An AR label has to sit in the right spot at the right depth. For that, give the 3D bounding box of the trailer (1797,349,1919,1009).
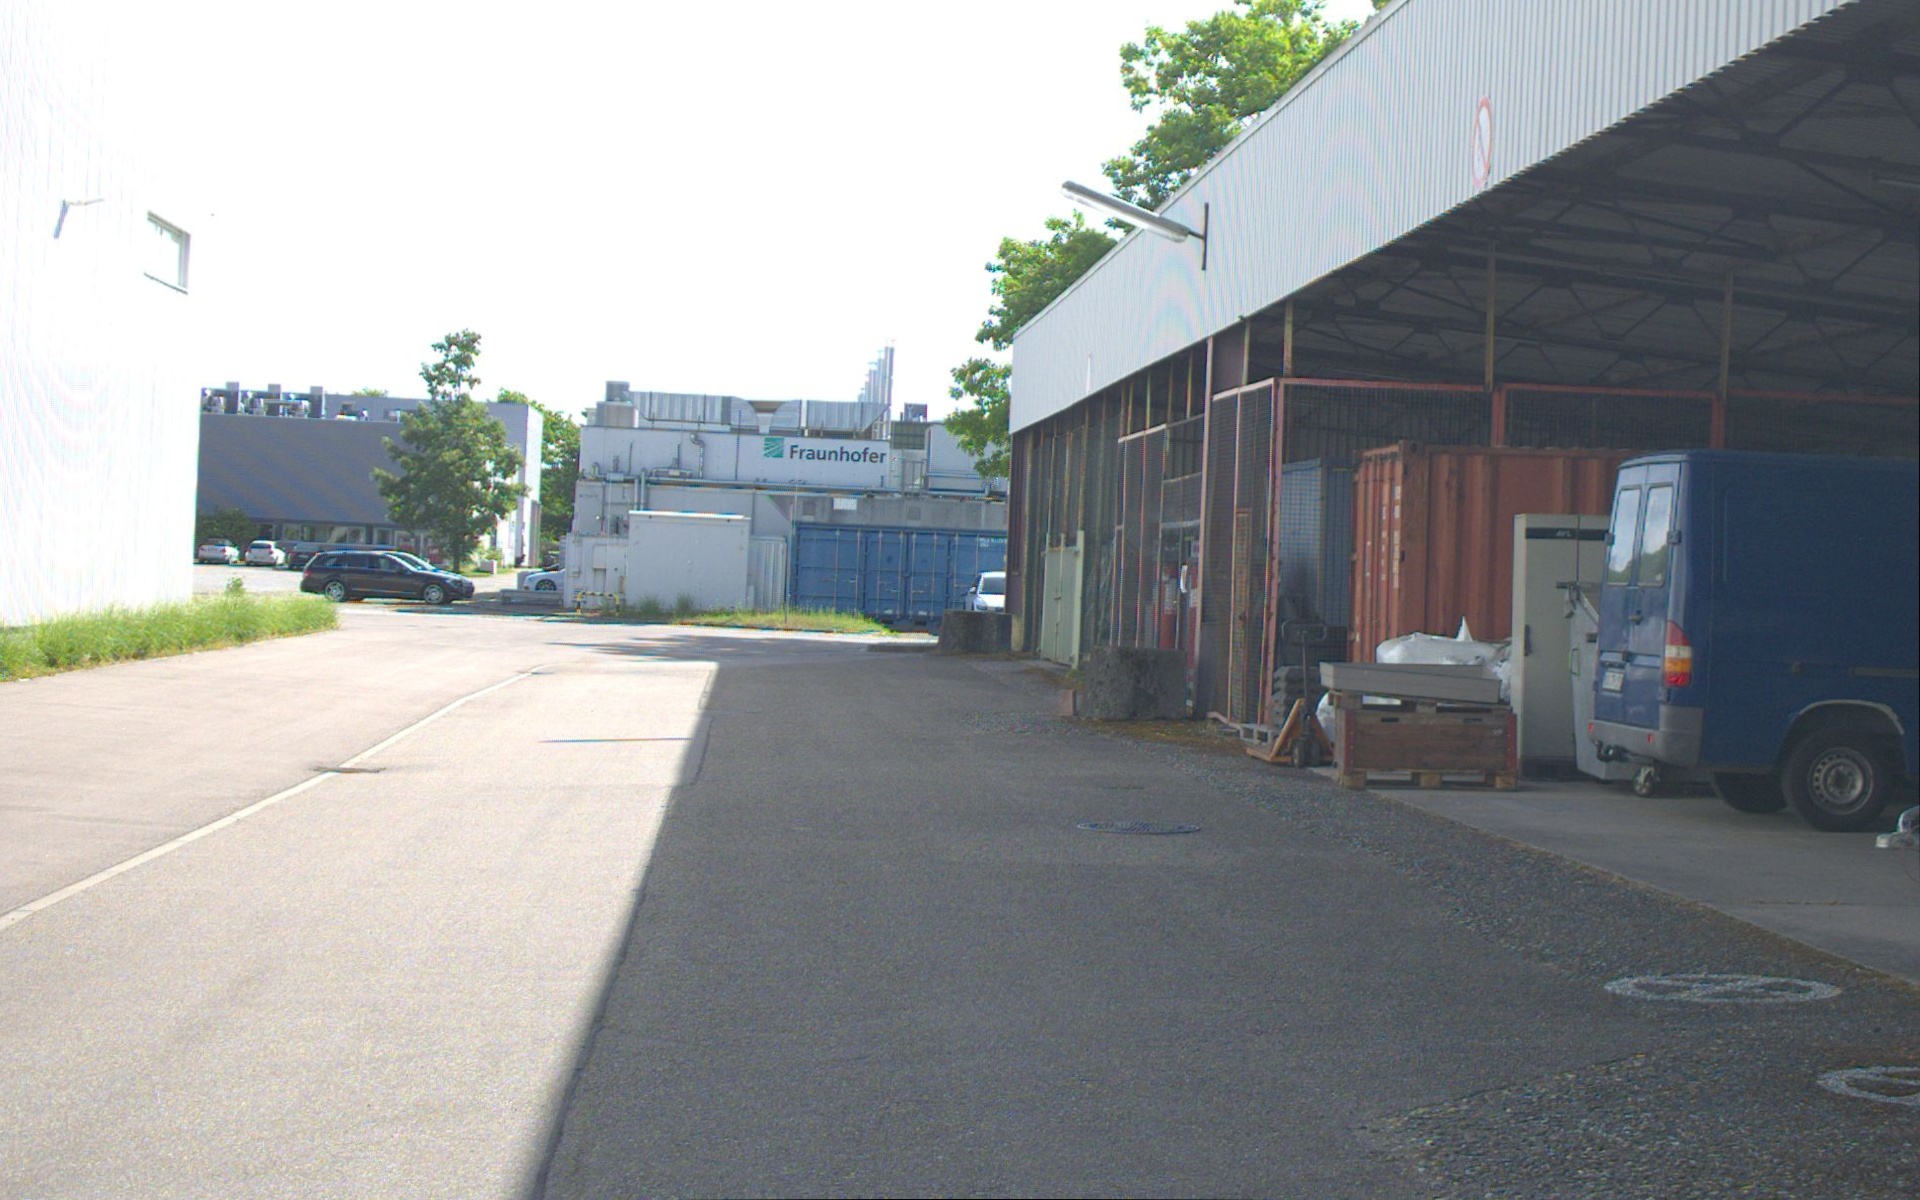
[{"bbox_3d":[5.634,0.300,12.844,4.541,2.327,1.689,1,1,-3],"label":"trailer"}]

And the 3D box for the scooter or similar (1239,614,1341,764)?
[{"bbox_3d":[2.610,0.691,27.334,0.520,1.131,1.592,2,0,-4],"label":"scooter or similar"}]

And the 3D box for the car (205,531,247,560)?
[{"bbox_3d":[-41.197,-3.058,193.083,1.877,1.532,4.036,1,0,-6],"label":"car"}]

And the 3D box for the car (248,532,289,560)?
[{"bbox_3d":[-38.887,-3.025,193.442,1.877,1.532,4.036,1,0,-6],"label":"car"}]

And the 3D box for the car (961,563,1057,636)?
[{"bbox_3d":[1.199,-0.039,85.992,1.980,1.588,4.341,3,2,-4],"label":"car"}]

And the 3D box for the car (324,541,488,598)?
[{"bbox_3d":[-16.229,-0.884,100.846,4.529,1.438,1.904,2,-1,-3],"label":"car"}]

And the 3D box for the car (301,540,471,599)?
[{"bbox_3d":[-16.257,-0.855,97.580,4.529,1.438,1.987,2,-1,-3],"label":"car"}]

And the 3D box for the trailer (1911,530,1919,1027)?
[{"bbox_3d":[8.435,-0.122,10.474,10.292,3.284,2.675,1,1,-3],"label":"trailer"}]

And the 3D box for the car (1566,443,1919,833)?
[{"bbox_3d":[6.704,0.278,21.777,5.215,2.289,2.084,2,0,-4],"label":"car"}]

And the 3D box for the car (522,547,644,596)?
[{"bbox_3d":[-13.740,-1.037,125.527,4.278,1.564,1.987,2,-1,-3],"label":"car"}]

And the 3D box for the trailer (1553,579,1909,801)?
[{"bbox_3d":[5.412,0.618,24.314,2.094,1.457,1.641,2,0,0],"label":"trailer"}]
